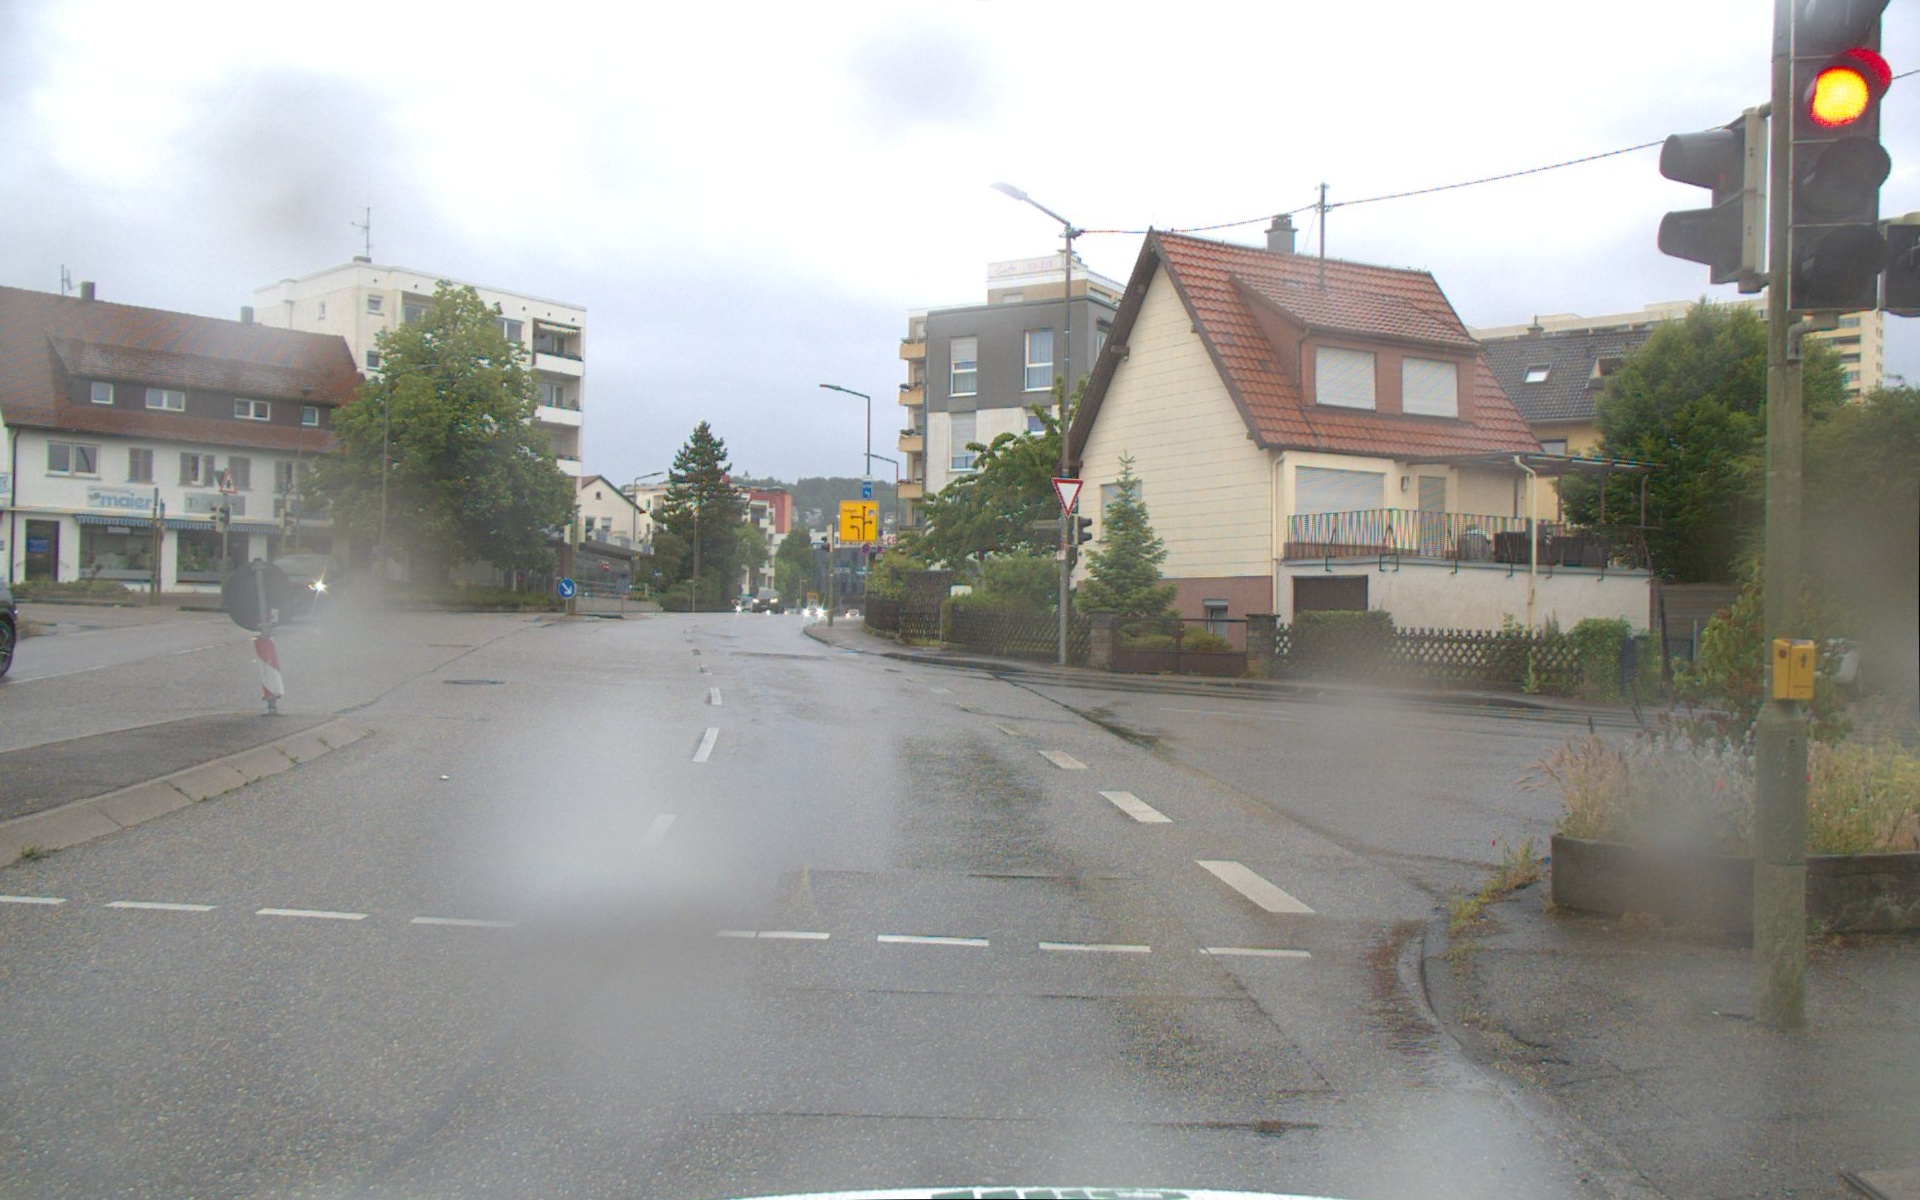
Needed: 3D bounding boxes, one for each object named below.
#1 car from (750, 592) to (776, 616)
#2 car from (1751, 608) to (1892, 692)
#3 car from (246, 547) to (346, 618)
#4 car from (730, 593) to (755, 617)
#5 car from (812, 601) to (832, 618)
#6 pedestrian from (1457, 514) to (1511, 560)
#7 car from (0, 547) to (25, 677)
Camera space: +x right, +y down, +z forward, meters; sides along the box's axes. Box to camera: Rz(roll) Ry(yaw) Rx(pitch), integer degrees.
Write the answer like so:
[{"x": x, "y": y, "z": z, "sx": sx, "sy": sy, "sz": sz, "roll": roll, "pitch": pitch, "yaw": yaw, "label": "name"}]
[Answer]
[{"x": -15.150, "y": 0.332, "z": 127.336, "sx": 1.956, "sy": 1.768, "sz": 5.173, "roll": 1, "pitch": 0, "yaw": -7, "label": "car"}, {"x": 15.615, "y": 0.866, "z": 29.883, "sx": 1.780, "sy": 1.386, "sz": 3.986, "roll": 1, "pitch": 0, "yaw": 35, "label": "car"}, {"x": -16.265, "y": -0.397, "z": 40.697, "sx": 1.848, "sy": 1.625, "sz": 4.166, "roll": 1, "pitch": 0, "yaw": -16, "label": "car"}, {"x": -18.617, "y": 0.414, "z": 141.528, "sx": 1.955, "sy": 1.937, "sz": 3.995, "roll": 1, "pitch": 0, "yaw": -5, "label": "car"}, {"x": -14.492, "y": 1.025, "z": 173.513, "sx": 1.955, "sy": 1.708, "sz": 3.995, "roll": 1, "pitch": 0, "yaw": -5, "label": "car"}, {"x": 11.146, "y": -1.335, "z": 35.184, "sx": 0.902, "sy": 0.898, "sz": 0.632, "roll": 1, "pitch": -2, "yaw": -20, "label": "pedestrian"}, {"x": -12.063, "y": 0.122, "z": 17.996, "sx": 1.930, "sy": 1.538, "sz": 3.992, "roll": 1, "pitch": 0, "yaw": -8, "label": "car"}]
